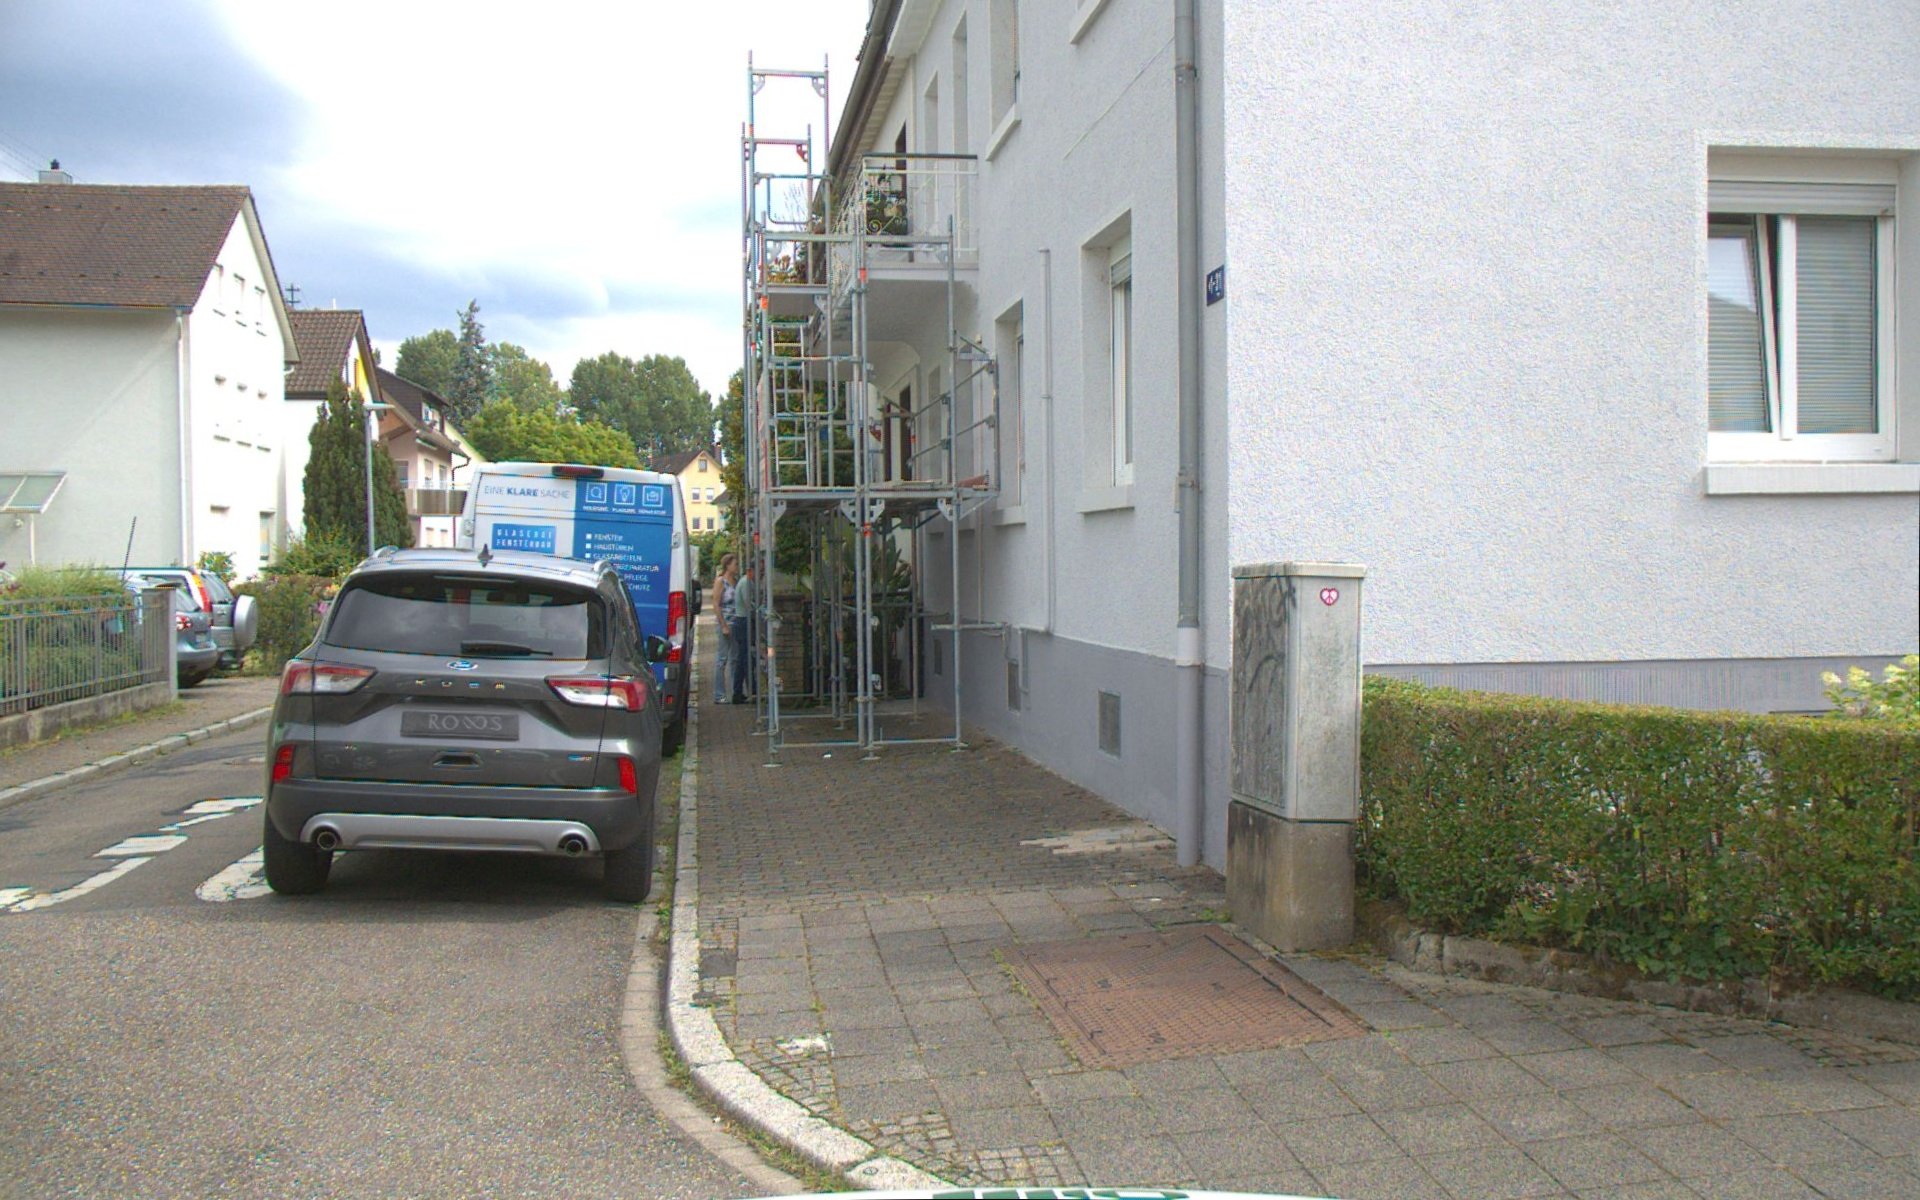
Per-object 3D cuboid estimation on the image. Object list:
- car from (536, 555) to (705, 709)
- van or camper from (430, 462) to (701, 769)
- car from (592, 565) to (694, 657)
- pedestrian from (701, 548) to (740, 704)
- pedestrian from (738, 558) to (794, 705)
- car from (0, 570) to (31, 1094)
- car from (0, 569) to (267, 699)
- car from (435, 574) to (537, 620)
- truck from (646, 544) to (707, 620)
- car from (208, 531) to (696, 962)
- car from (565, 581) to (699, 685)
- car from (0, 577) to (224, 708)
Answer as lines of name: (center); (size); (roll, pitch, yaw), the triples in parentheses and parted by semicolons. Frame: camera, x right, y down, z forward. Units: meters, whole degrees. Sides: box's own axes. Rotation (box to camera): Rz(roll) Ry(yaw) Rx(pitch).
car: (-4.521, 0.337, 22.108); (1.958, 1.803, 4.330); (-1, 1, -12)
van or camper: (-3.683, 0.064, 16.269); (2.152, 2.502, 5.043); (-1, 1, -10)
car: (-6.719, 0.167, 34.954); (1.958, 1.780, 4.330); (-1, 1, -12)
pedestrian: (-2.807, 0.303, 19.380); (0.400, 1.793, 0.512); (-1, 0, -9)
pedestrian: (-2.243, 0.358, 19.084); (0.590, 1.657, 0.624); (-1, 0, -8)
car: (-3.168, 0.689, 3.402); (1.792, 1.546, 4.013); (0, 0, -24)
car: (-11.845, 0.453, 23.383); (3.509, 1.696, 1.582); (-1, 1, -13)
car: (-19.763, -0.111, 69.098); (3.918, 1.803, 1.864); (-1, 0, -13)
truck: (-10.675, -0.706, 62.036); (2.092, 2.703, 4.572); (-1, 1, -11)
car: (-2.561, 0.559, 9.179); (1.958, 1.757, 4.330); (-1, 1, -12)
car: (-5.367, 0.462, 27.088); (1.958, 1.481, 4.330); (-1, 1, -12)
car: (-11.347, 0.519, 20.814); (3.509, 1.527, 1.582); (-1, 1, -13)
